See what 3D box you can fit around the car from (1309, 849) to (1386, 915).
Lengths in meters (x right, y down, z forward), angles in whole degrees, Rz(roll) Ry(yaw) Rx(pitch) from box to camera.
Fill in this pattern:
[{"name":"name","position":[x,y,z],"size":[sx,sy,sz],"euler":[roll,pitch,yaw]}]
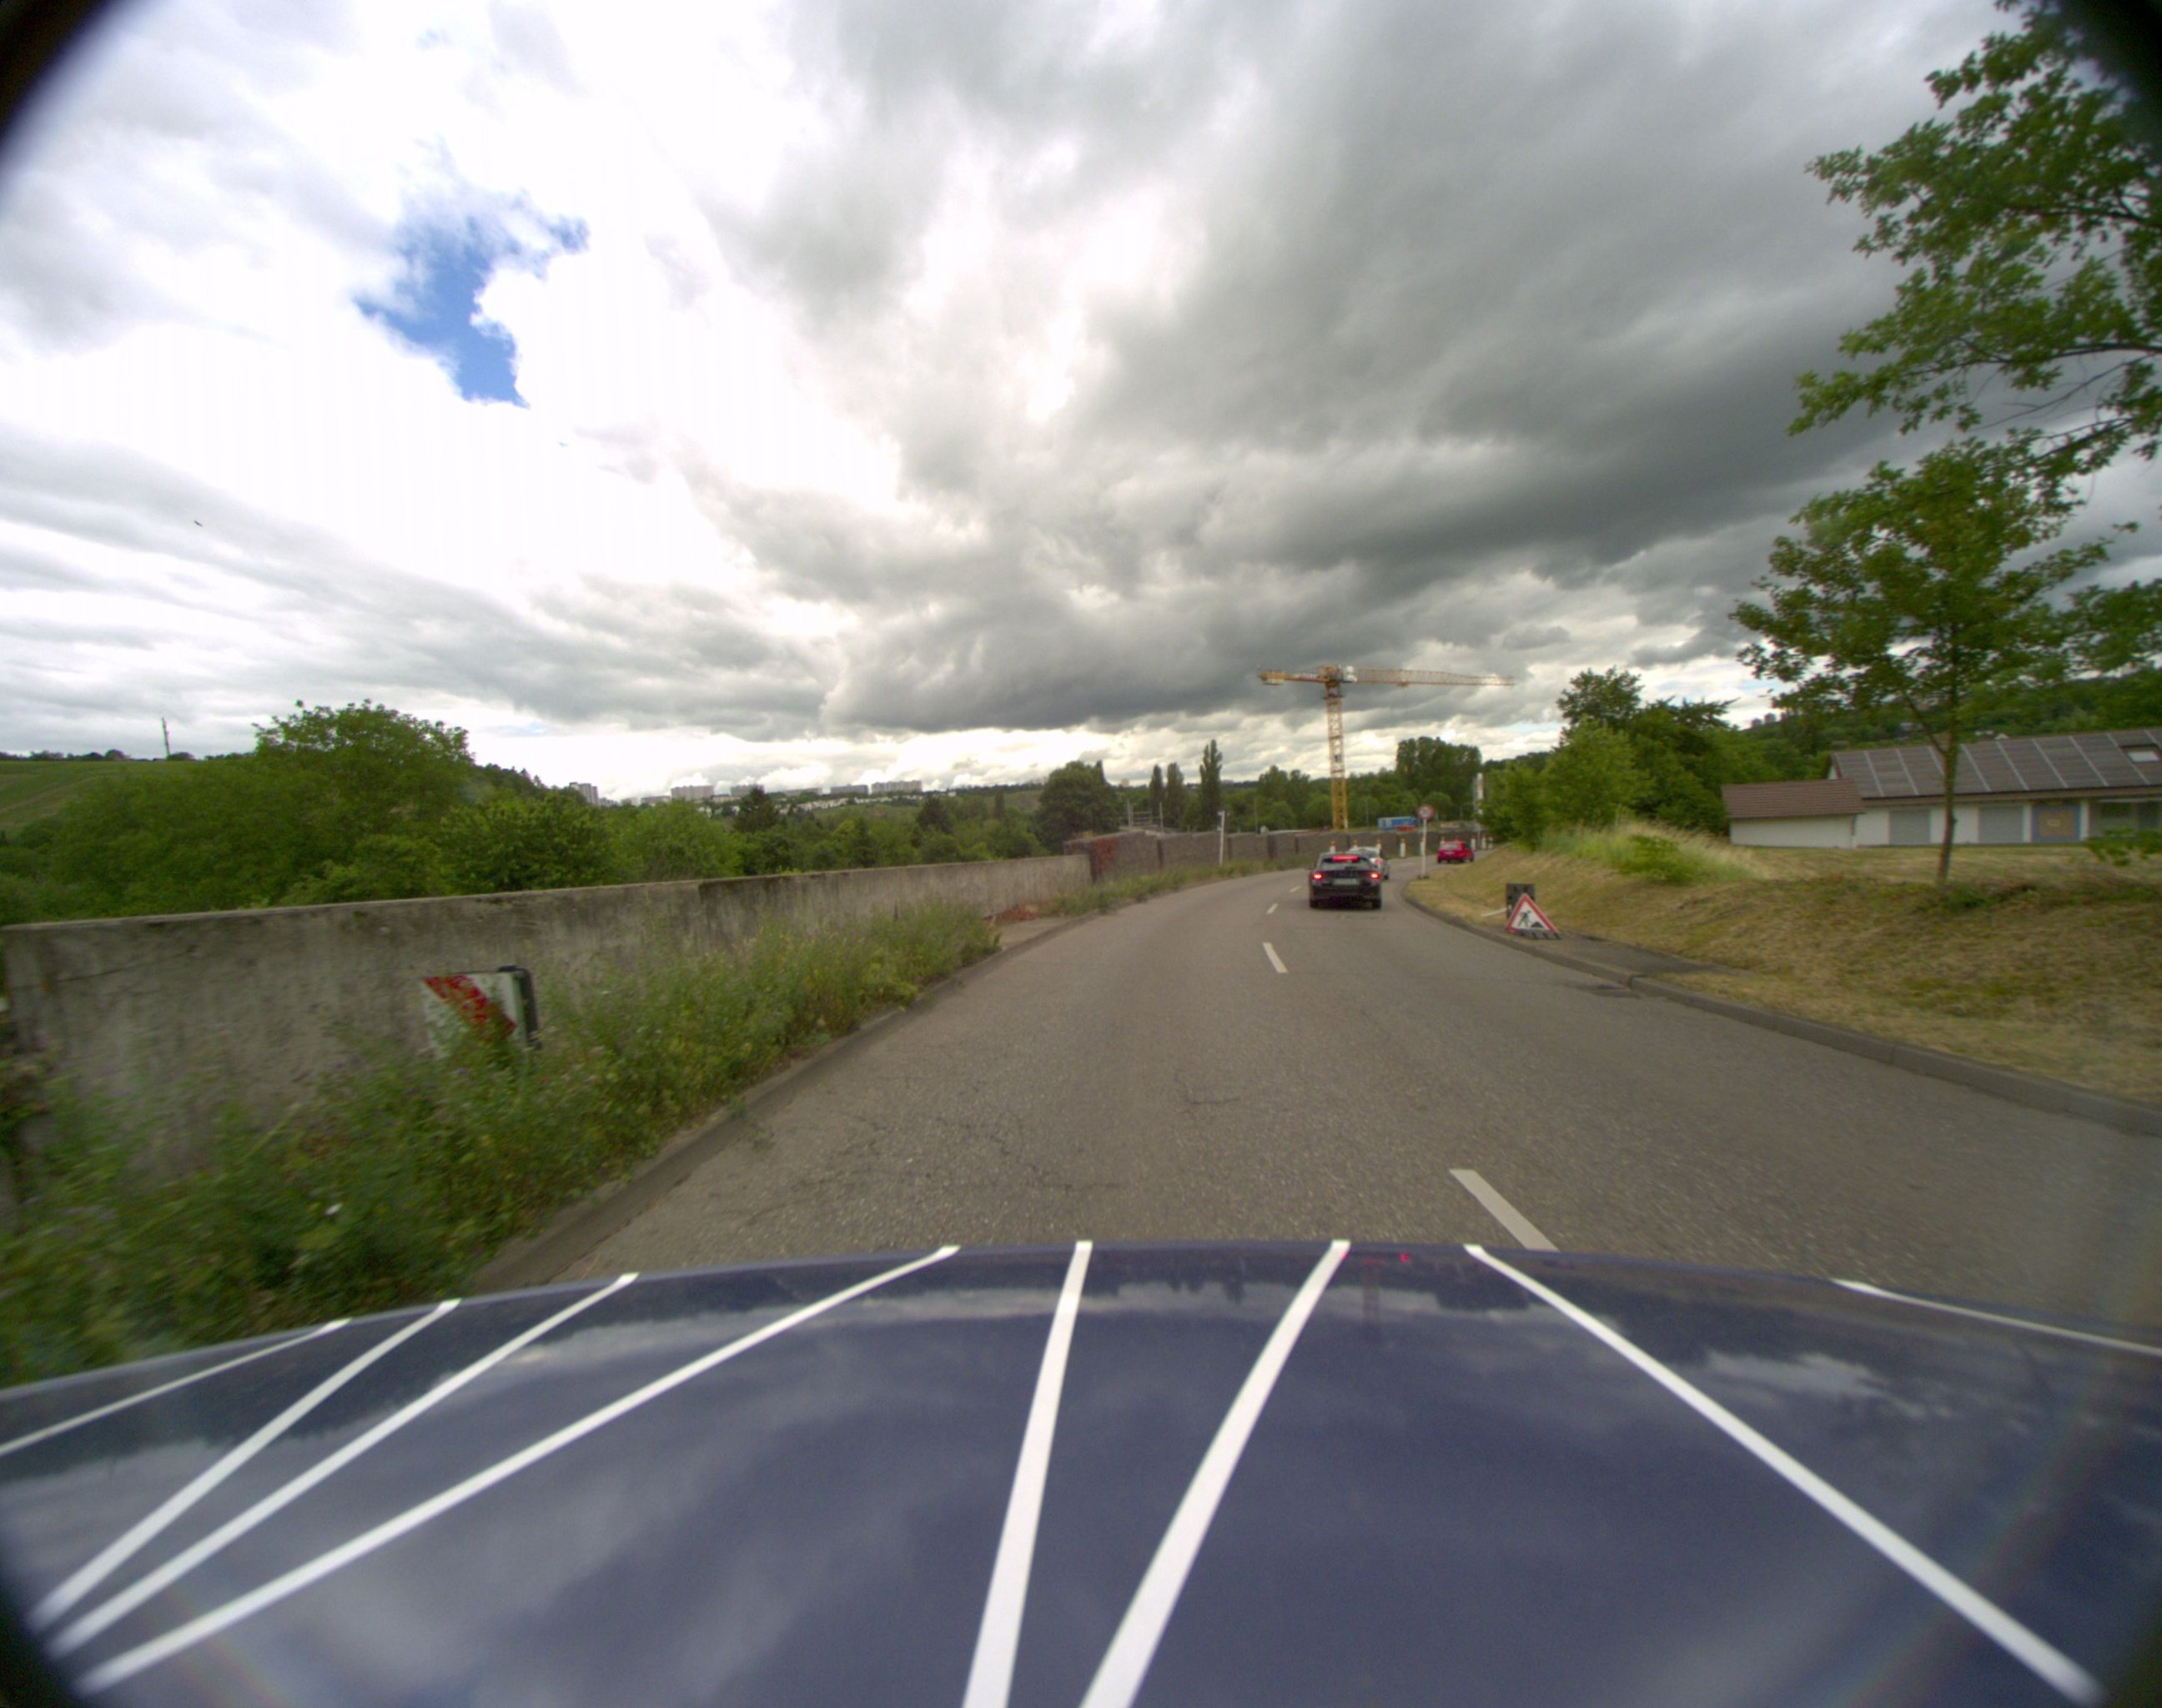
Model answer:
[{"name":"car","position":[7.087,0.655,20.464],"size":[1.739,1.486,4.439],"euler":[0,2,17]}]

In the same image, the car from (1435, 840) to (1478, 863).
[{"name":"car","position":[25.434,-0.191,51.453],"size":[1.741,1.408,3.761],"euler":[3,3,39]}]

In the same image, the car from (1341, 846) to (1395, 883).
[{"name":"car","position":[12.915,0.427,34.052],"size":[1.775,1.487,3.920],"euler":[0,2,28]}]
